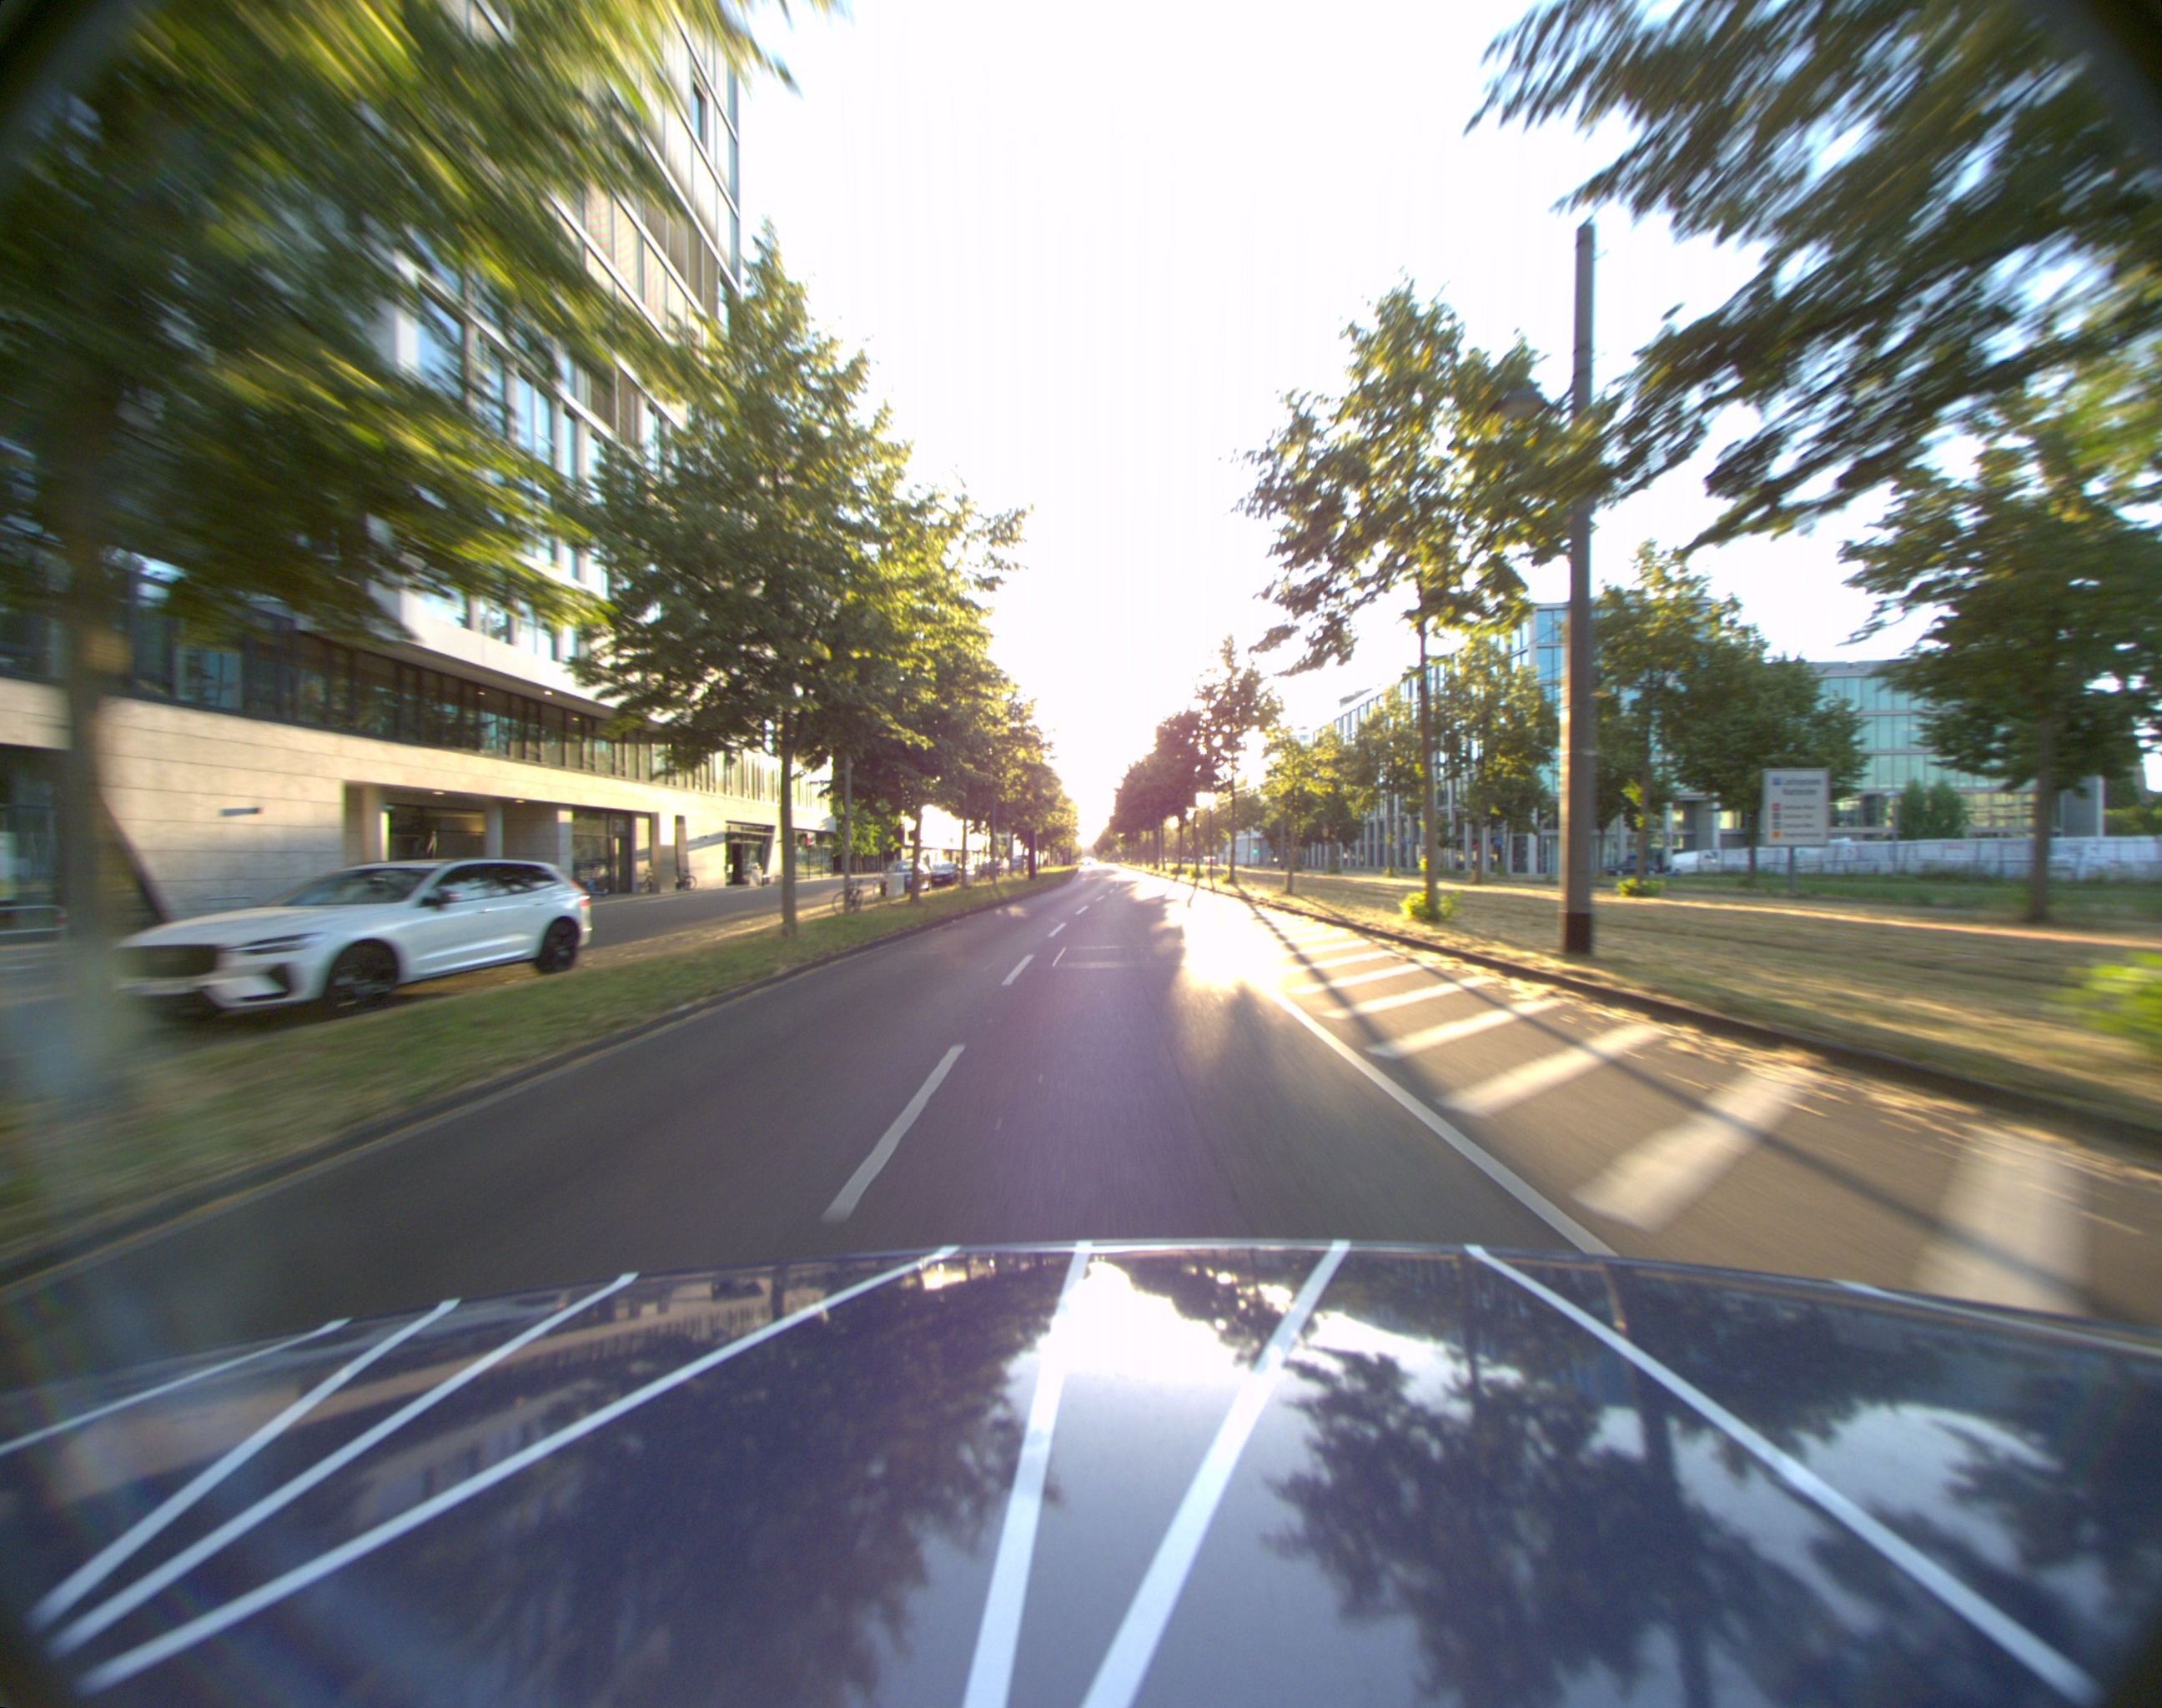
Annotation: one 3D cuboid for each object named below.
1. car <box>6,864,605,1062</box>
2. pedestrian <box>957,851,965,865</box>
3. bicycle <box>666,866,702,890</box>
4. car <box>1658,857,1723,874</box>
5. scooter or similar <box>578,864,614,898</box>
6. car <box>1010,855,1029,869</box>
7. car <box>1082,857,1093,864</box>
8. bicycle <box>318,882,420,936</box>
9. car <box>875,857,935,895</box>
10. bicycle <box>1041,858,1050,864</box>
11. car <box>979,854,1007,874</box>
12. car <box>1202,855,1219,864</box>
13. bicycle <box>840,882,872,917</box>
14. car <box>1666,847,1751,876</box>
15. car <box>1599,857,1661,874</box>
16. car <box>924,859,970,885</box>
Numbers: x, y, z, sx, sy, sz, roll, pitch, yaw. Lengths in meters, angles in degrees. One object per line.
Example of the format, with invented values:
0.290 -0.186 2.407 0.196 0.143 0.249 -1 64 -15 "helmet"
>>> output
-8.228 0.978 9.000 1.998 1.633 4.878 0 0 1 "car"
-15.306 0.515 97.127 0.899 1.786 0.912 0 0 -1 "pedestrian"
-17.639 1.053 33.794 0.454 1.022 1.396 0 0 27 "bicycle"
52.255 0.964 65.204 3.995 1.437 1.895 0 0 4 "car"
-17.742 0.969 27.808 0.473 1.204 1.229 0 0 2 "scooter or similar"
-7.111 0.895 87.625 1.843 1.561 4.061 -1 0 0 "car"
1.219 1.275 148.278 1.998 1.473 4.335 0 -1 0 "car"
-15.420 1.169 16.524 0.471 1.033 1.807 0 0 2 "bicycle"
-7.756 0.937 33.808 1.714 1.506 3.759 -3 0 0 "car"
-6.178 1.239 132.289 1.718 0.905 0.363 -1 0 34 "bicycle"
-7.379 0.832 64.109 1.785 1.485 4.000 -3 0 1 "car"
21.558 0.895 126.418 1.907 1.477 4.630 0 0 -1 "car"
-5.872 1.180 19.858 0.316 0.818 1.552 0 0 2 "bicycle"
46.350 0.544 56.297 2.212 2.002 5.084 0 0 1 "car"
47.384 0.951 65.651 3.996 1.437 1.895 0 0 4 "car"
-7.590 0.990 43.482 1.857 1.359 4.833 1 0 -1 "car"
